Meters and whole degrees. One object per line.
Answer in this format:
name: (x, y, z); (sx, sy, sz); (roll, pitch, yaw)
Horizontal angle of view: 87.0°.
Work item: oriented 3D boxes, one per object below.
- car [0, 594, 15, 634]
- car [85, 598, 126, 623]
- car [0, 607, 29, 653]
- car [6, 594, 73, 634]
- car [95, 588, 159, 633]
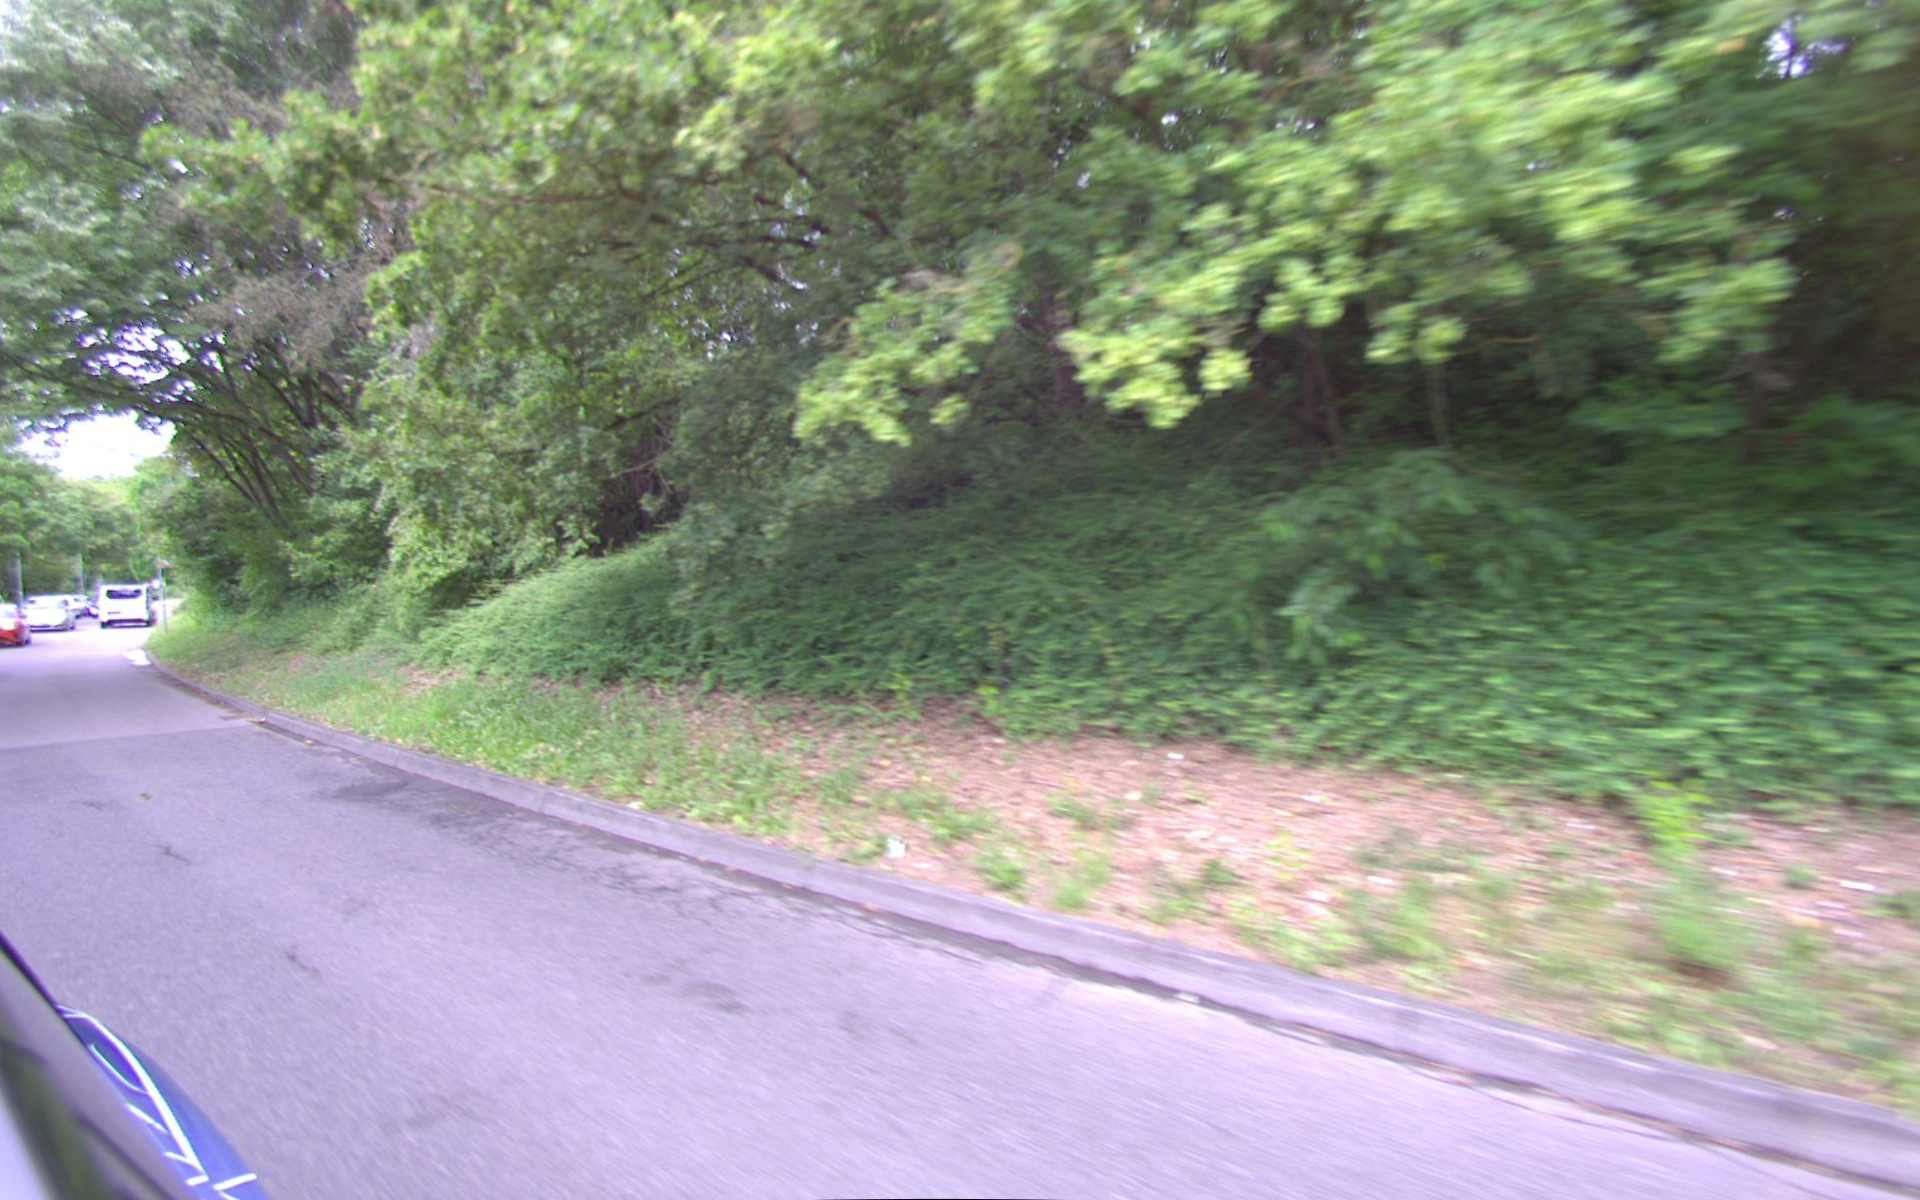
car: (-44.360, 0.675, 45.814); (1.838, 1.739, 4.185); (-2, 1, -37)
car: (-54.588, 0.653, 64.698); (1.741, 1.529, 4.009); (-2, 1, -37)
car: (-32.881, 1.018, 34.044); (1.838, 1.459, 4.185); (-2, 1, -37)
car: (-41.404, 0.628, 45.590); (1.893, 1.694, 4.008); (1, -1, -38)
car: (-40.736, 0.473, 49.577); (2.116, 2.029, 4.010); (-1, 2, -35)
